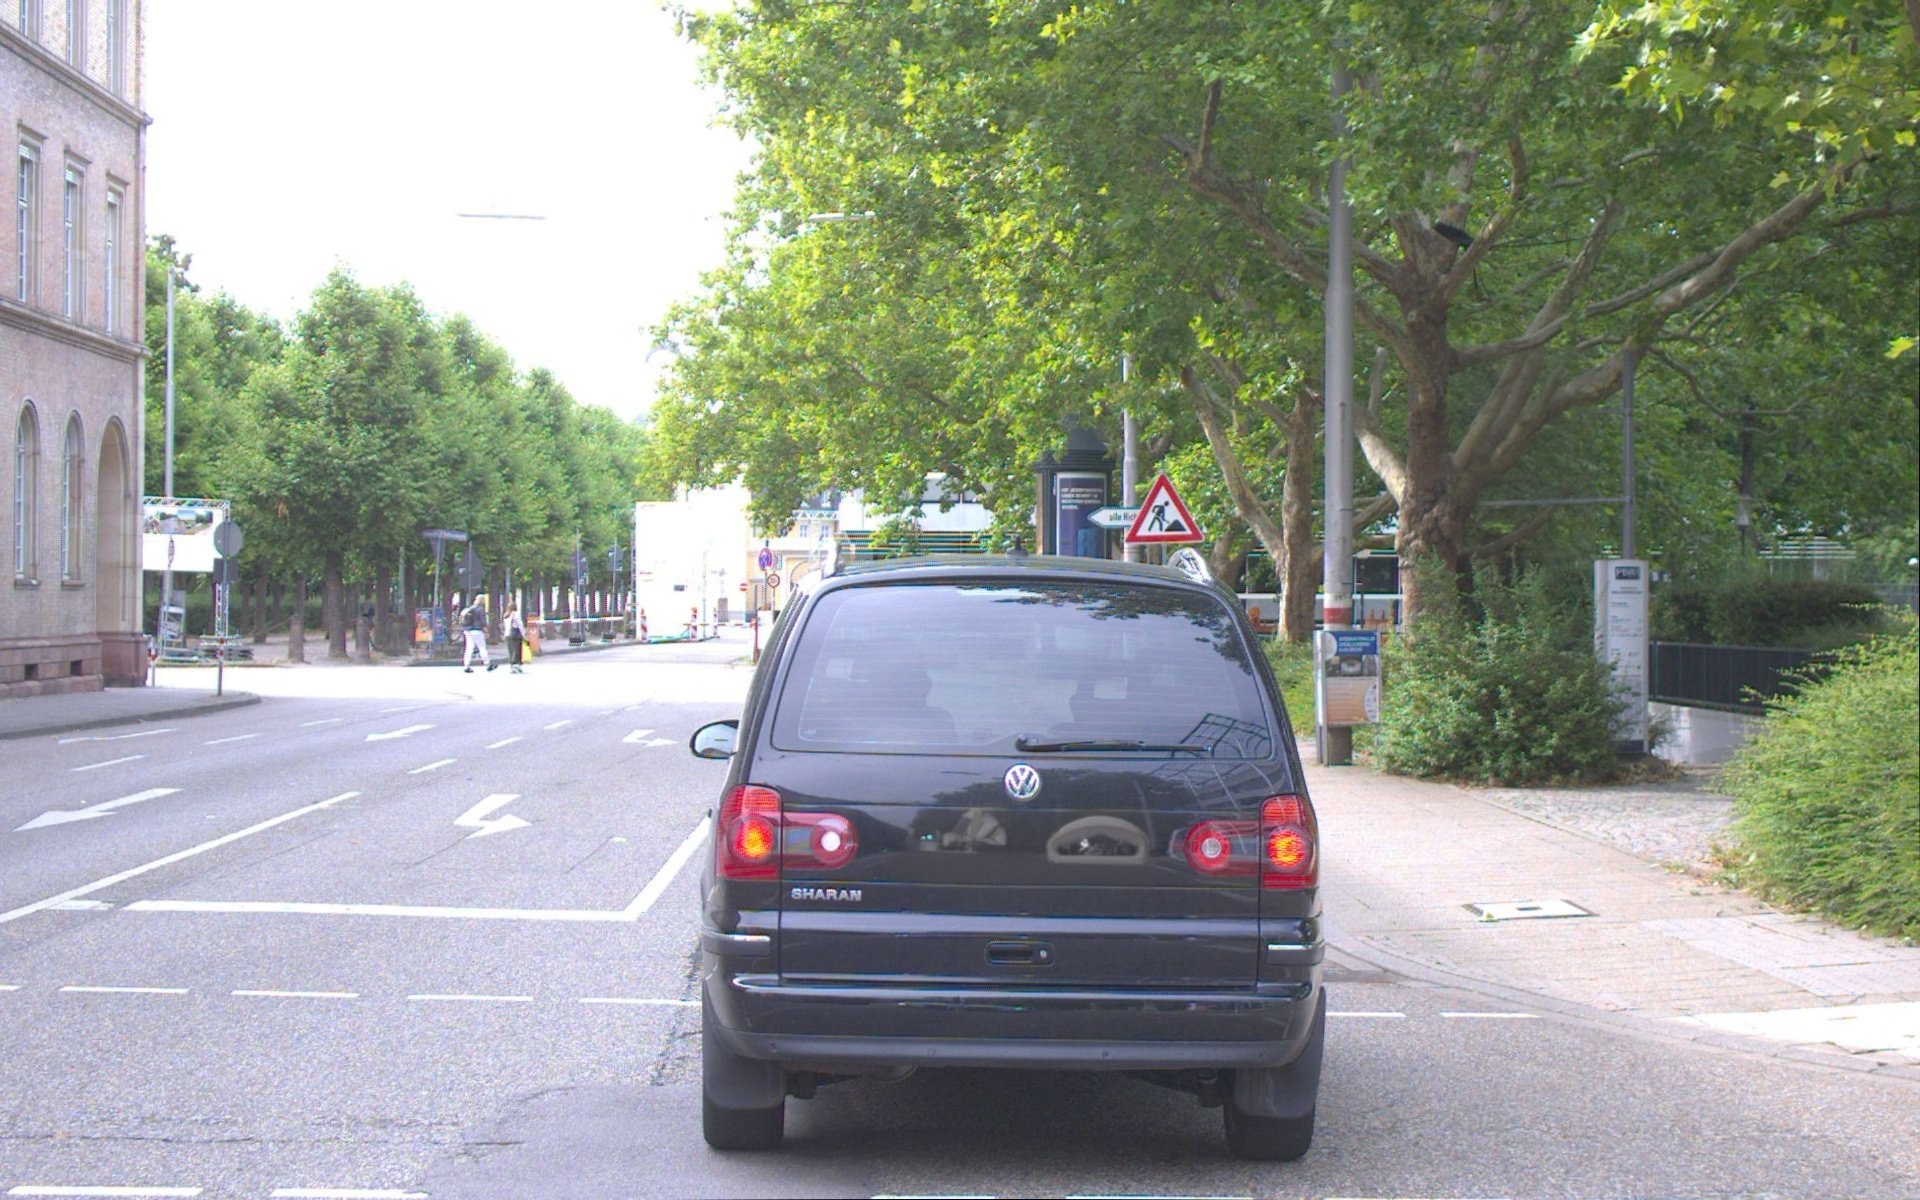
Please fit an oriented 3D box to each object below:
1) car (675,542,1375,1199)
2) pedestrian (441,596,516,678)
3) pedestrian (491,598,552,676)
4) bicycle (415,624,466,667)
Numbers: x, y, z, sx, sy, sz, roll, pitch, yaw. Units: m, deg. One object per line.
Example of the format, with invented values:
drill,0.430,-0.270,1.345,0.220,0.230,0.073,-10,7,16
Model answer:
car,0.114,0.704,10.922,1.793,1.702,4.131,0,0,-2
pedestrian,-10.491,0.804,74.930,0.962,1.735,1.253,2,0,38
pedestrian,-9.501,0.799,74.494,0.898,1.636,0.850,2,0,35
bicycle,-14.441,1.260,95.475,0.952,1.106,2.580,2,0,-18
